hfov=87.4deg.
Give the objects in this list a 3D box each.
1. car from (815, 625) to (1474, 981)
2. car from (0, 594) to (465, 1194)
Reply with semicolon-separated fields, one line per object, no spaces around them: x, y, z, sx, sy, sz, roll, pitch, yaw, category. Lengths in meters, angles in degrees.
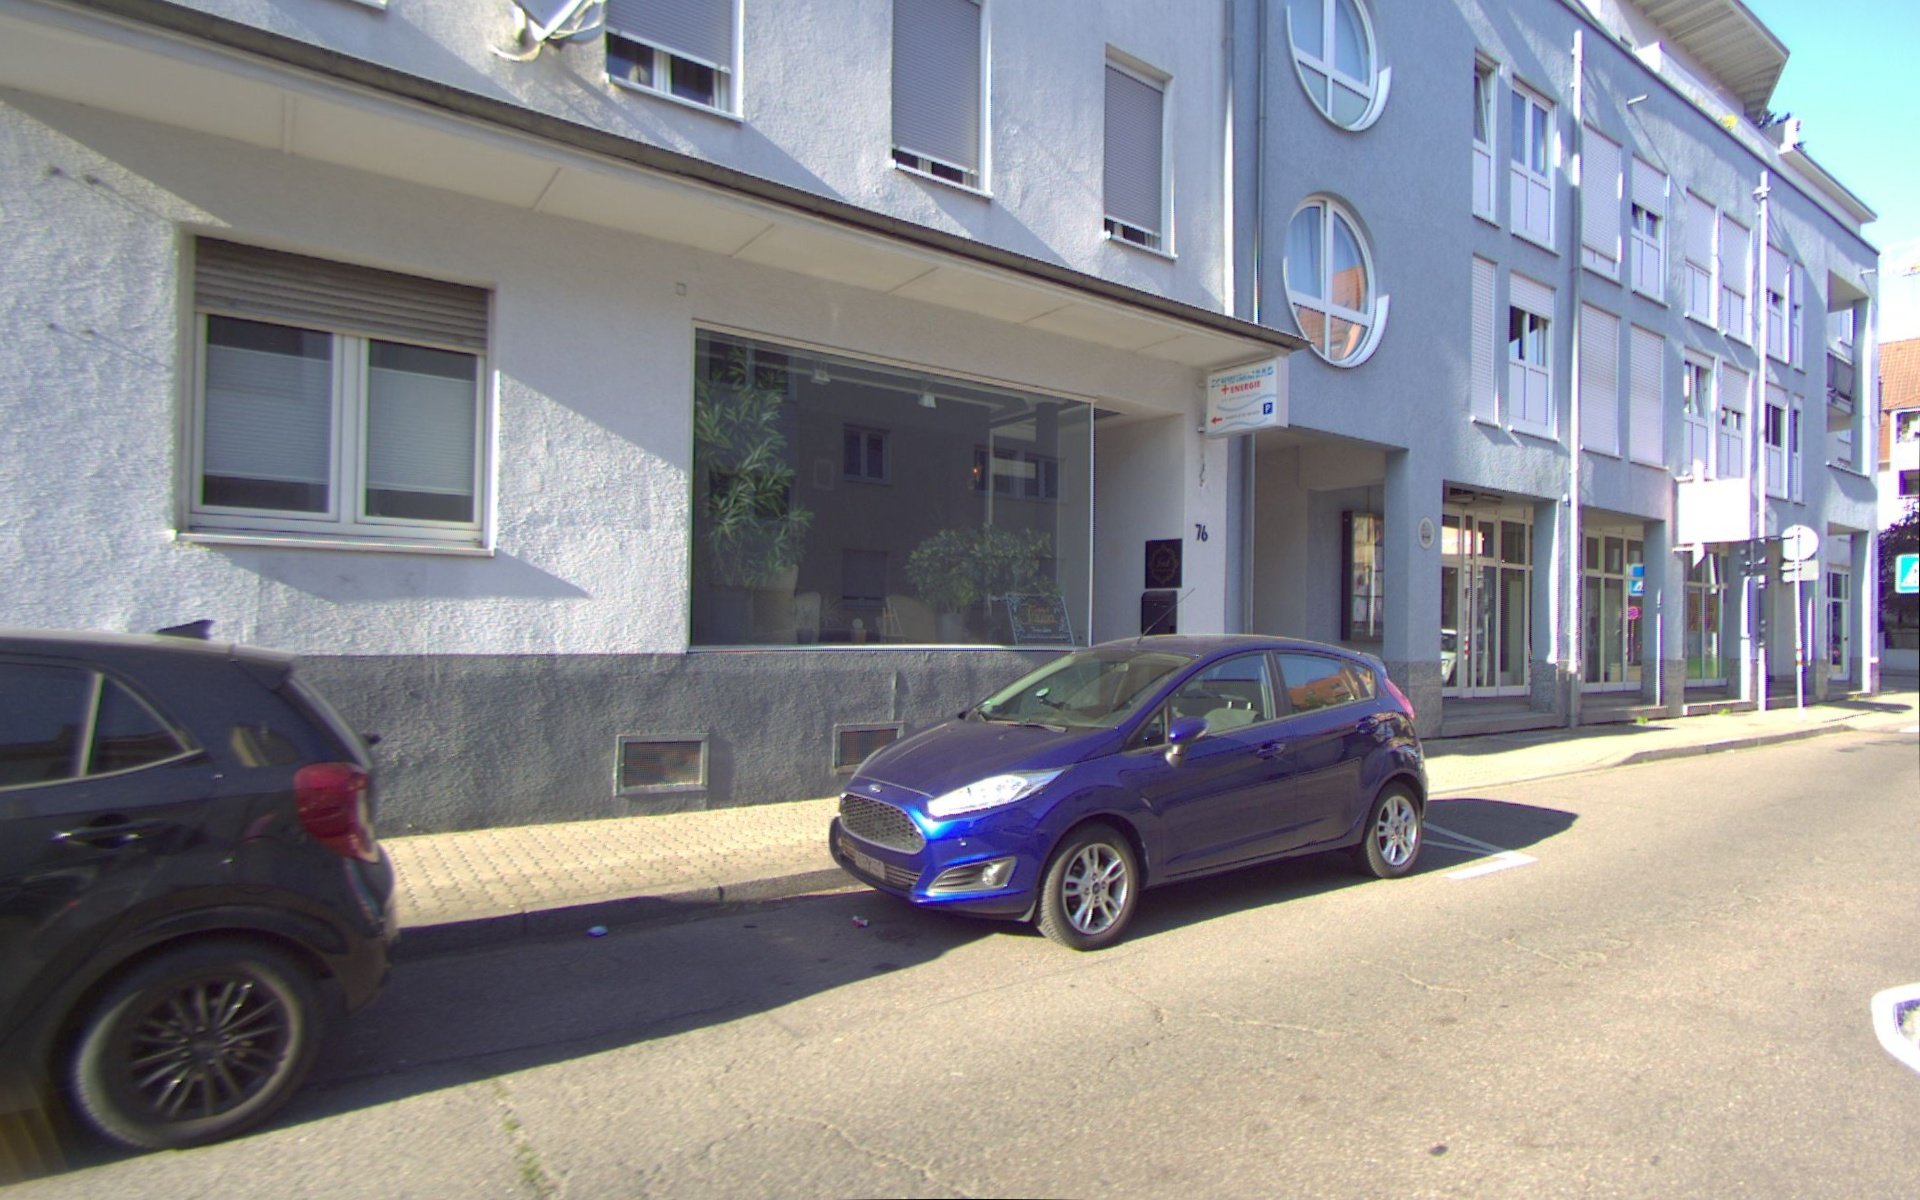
1.262;0.950;6.149;3.919;1.519;1.720;2;-3;-35;car
-3.601;0.768;2.835;3.770;1.546;1.650;1;-3;-34;car
